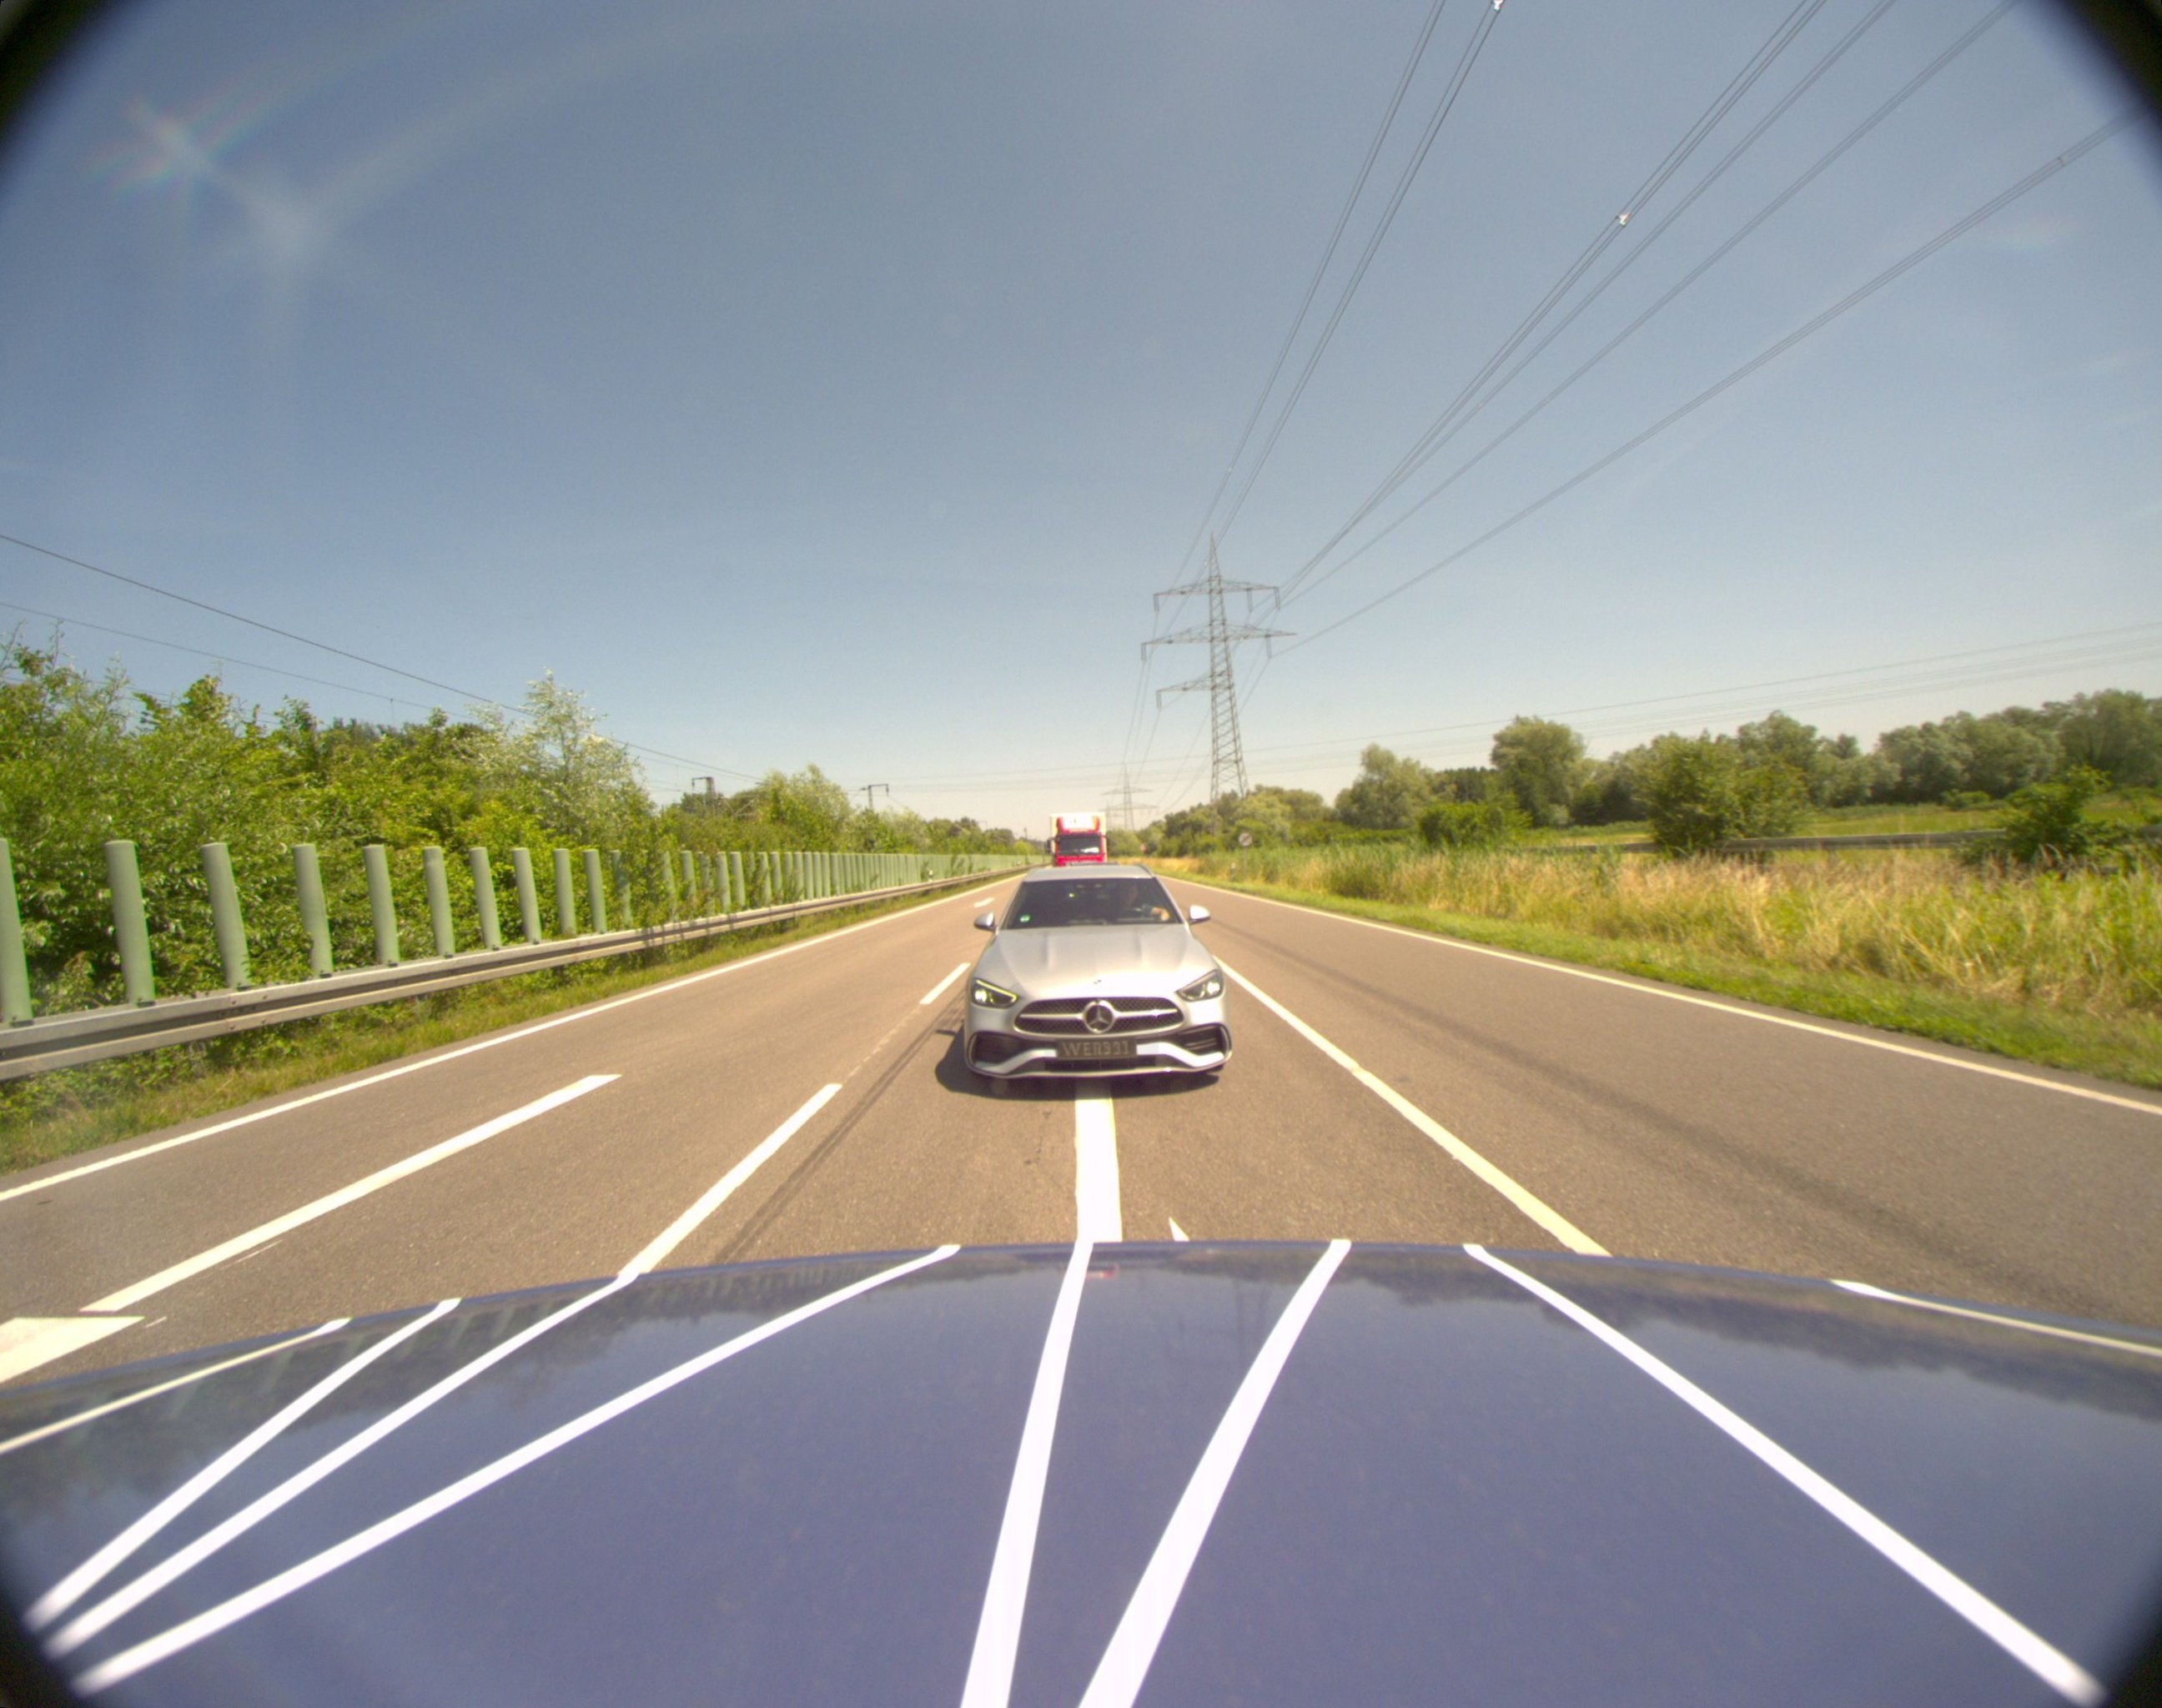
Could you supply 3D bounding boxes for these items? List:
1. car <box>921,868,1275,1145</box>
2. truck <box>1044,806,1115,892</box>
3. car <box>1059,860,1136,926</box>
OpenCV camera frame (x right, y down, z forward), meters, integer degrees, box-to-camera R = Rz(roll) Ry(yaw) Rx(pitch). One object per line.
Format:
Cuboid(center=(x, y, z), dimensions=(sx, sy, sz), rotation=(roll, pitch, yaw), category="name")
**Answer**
Cuboid(center=(0.115, 0.922, 6.615), dimensions=(1.998, 1.437, 4.467), rotation=(-2, 0, 0), category="car")
Cuboid(center=(-0.056, -0.227, 37.319), dimensions=(2.907, 3.641, 7.155), rotation=(-4, 0, 0), category="truck")
Cuboid(center=(0.417, 0.910, 19.460), dimensions=(1.698, 1.385, 4.467), rotation=(-2, 0, 1), category="car")
